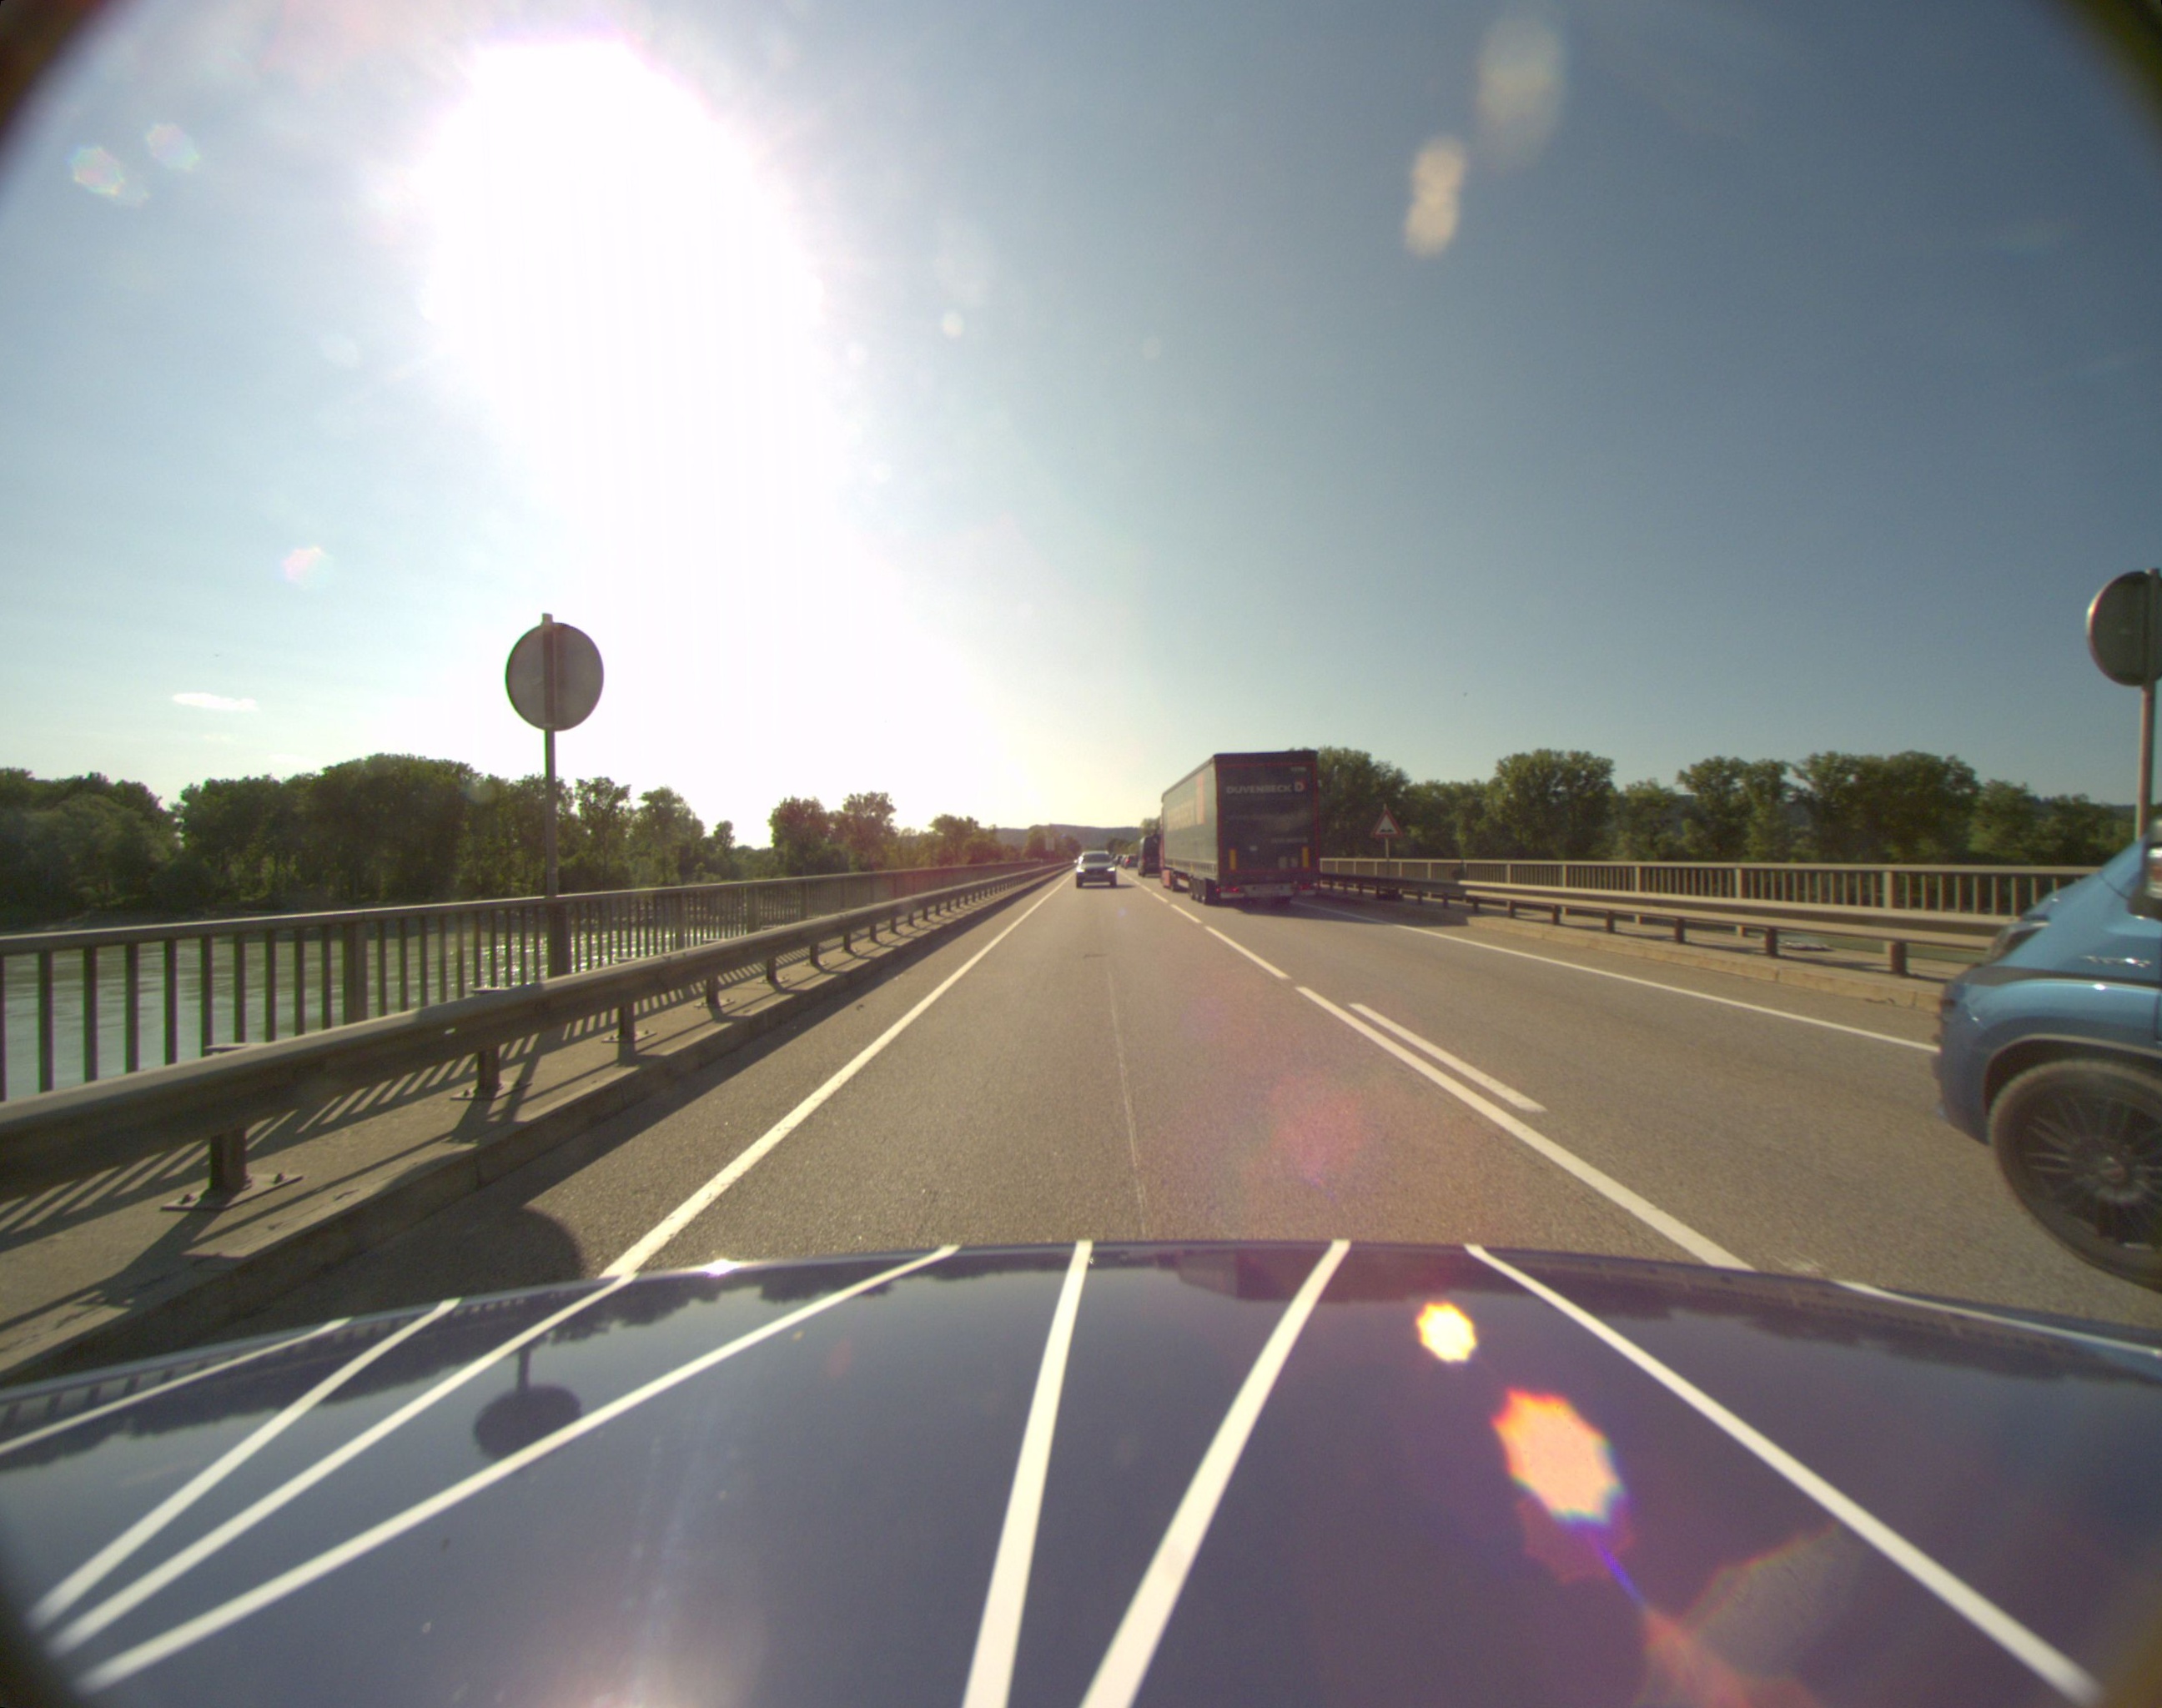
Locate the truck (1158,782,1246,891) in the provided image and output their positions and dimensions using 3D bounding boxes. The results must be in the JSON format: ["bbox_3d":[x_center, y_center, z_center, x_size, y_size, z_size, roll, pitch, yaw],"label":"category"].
[{"bbox_3d":[4.987,-0.672,32.445,2.915,4.160,5.713,-2,0,2],"label":"truck"}]

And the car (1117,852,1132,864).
[{"bbox_3d":[6.504,0.581,113.439,2.058,1.643,4.721,-3,0,2],"label":"car"}]

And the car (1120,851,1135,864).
[{"bbox_3d":[5.850,0.376,96.005,1.810,1.568,4.201,-2,0,3],"label":"car"}]

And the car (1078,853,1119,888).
[{"bbox_3d":[0.870,0.759,37.737,1.871,1.598,4.380,-2,0,2],"label":"car"}]

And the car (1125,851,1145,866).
[{"bbox_3d":[5.849,0.448,83.017,1.879,1.574,4.274,-2,0,1],"label":"car"}]

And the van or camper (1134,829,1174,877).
[{"bbox_3d":[5.013,-0.069,53.087,2.321,3.033,6.818,-2,0,2],"label":"van or camper"}]

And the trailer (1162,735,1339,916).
[{"bbox_3d":[4.861,-0.693,25.501,2.914,4.277,14.302,-2,0,1],"label":"trailer"}]

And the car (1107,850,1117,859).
[{"bbox_3d":[5.844,0.098,143.776,1.859,1.712,4.566,-2,0,2],"label":"car"}]
